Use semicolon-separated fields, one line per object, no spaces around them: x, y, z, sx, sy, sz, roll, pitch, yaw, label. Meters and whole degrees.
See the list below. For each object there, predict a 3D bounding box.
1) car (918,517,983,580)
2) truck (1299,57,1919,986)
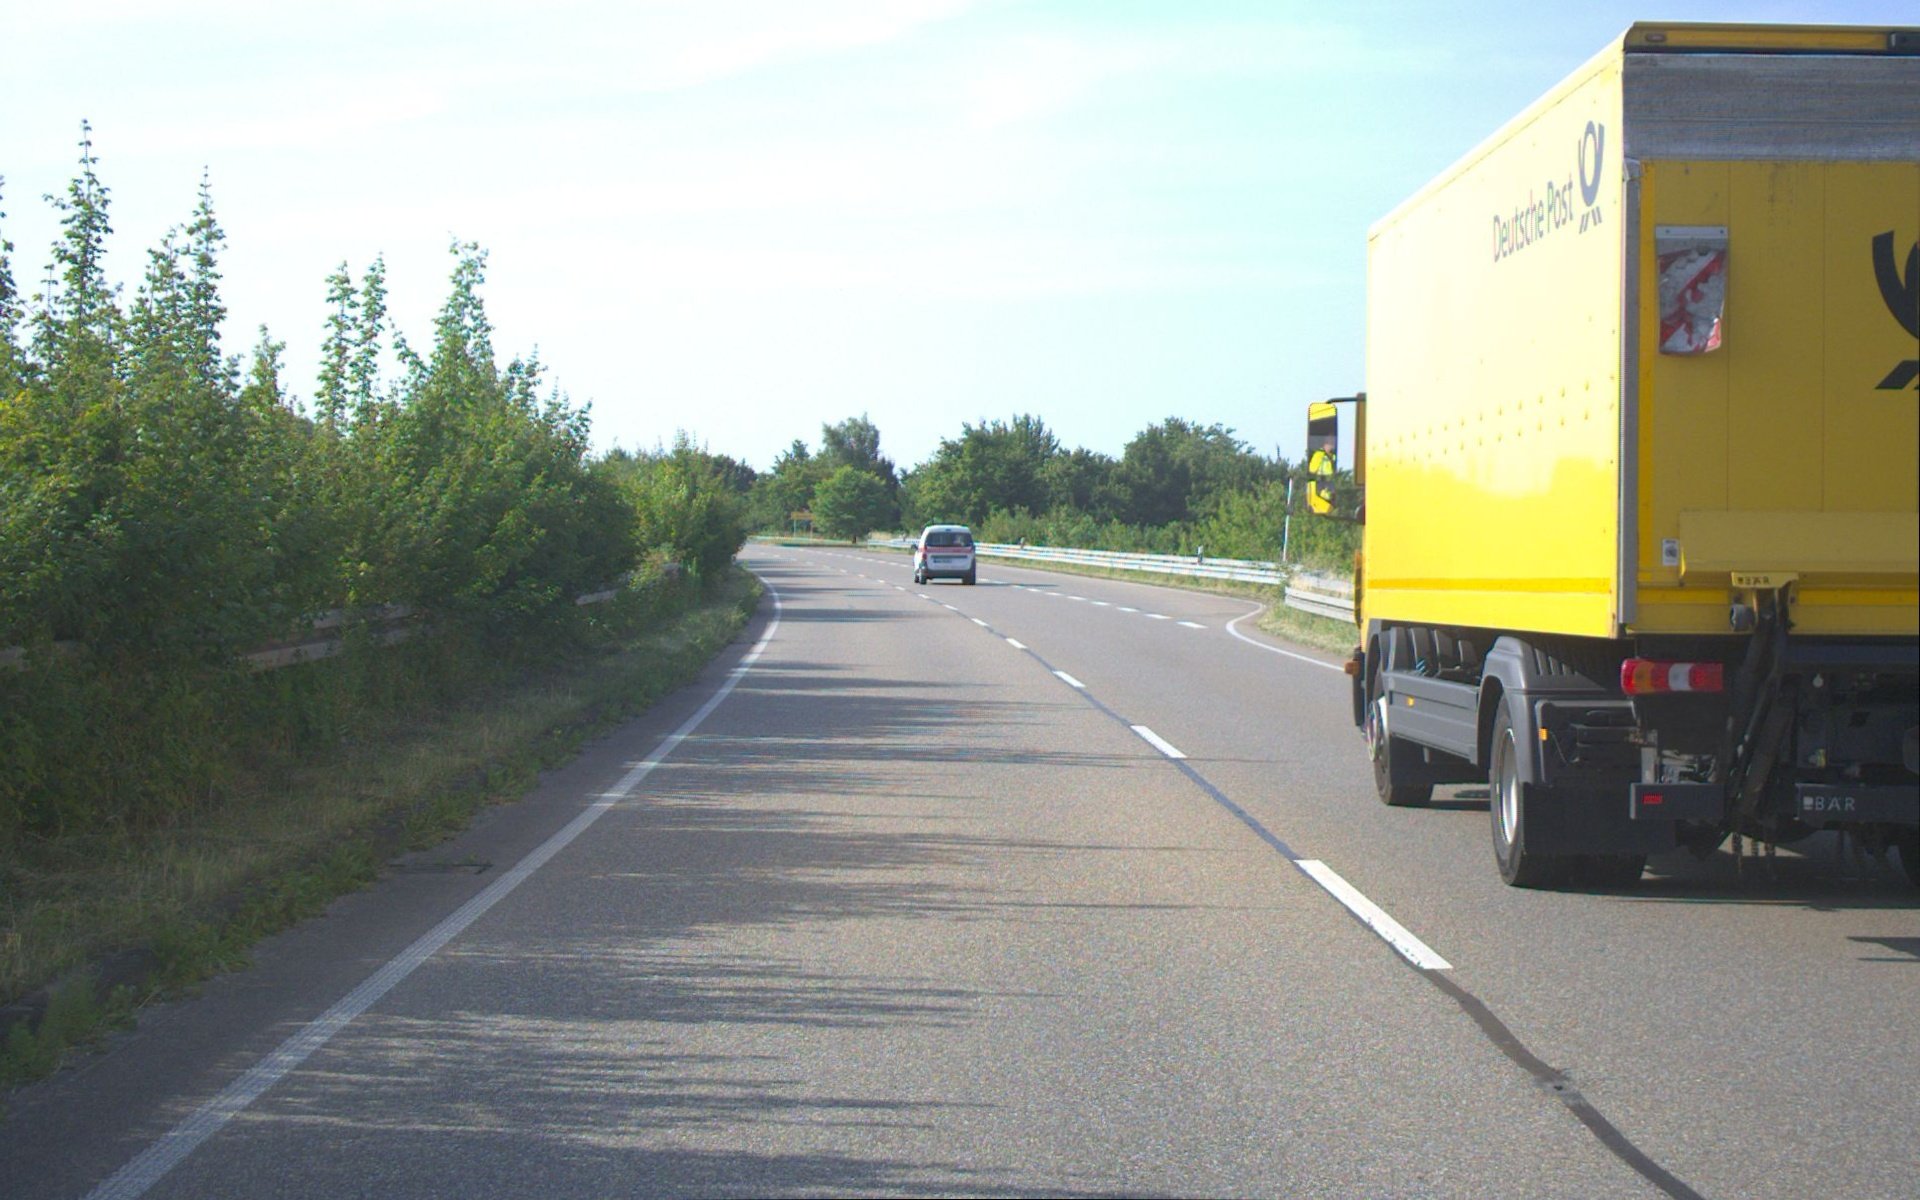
-0.314;-1.580;105.230;1.765;1.875;4.000;1;1;-3;car
3.672;-0.386;17.542;2.778;3.305;10.490;1;1;0;truck
